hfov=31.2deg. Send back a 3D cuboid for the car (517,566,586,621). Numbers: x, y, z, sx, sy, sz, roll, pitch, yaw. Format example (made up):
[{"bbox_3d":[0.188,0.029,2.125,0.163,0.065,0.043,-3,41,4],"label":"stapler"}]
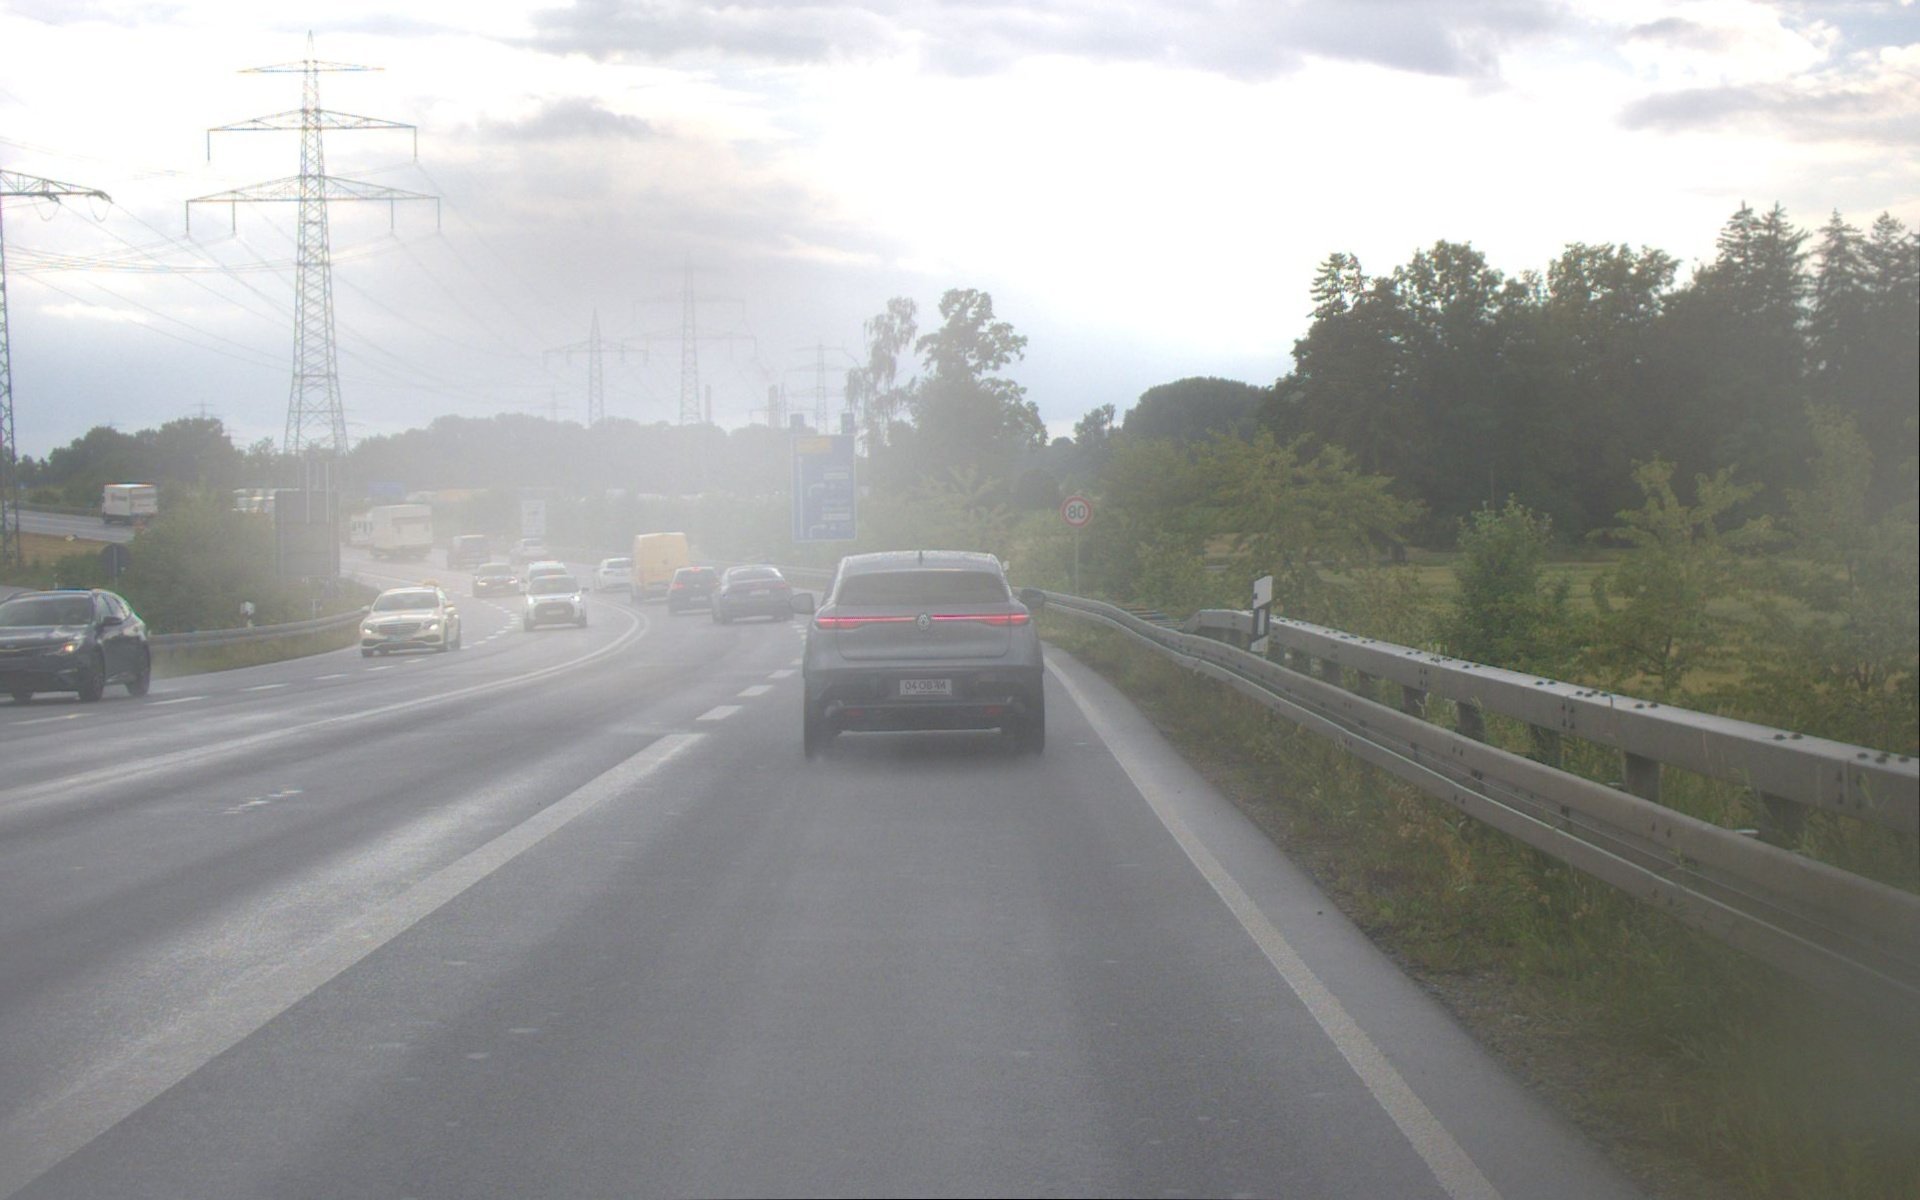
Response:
[{"bbox_3d":[-11.601,-0.195,97.872,1.766,1.495,4.210,-2,1,-5],"label":"car"}]

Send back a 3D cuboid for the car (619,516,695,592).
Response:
[{"bbox_3d":[-11.287,-1.690,127.622,2.572,2.716,7.198,1,1,-6],"label":"car"}]

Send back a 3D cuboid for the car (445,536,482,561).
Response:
[{"bbox_3d":[-29.202,-3.011,202.138,1.791,1.436,4.001,1,1,-14],"label":"car"}]

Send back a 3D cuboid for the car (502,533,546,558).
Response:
[{"bbox_3d":[-25.989,-3.239,204.844,1.791,1.436,4.001,1,1,-19],"label":"car"}]

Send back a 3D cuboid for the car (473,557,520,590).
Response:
[{"bbox_3d":[-20.572,-1.190,152.346,1.895,1.436,4.901,1,1,-9],"label":"car"}]

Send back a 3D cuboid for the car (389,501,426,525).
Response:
[{"bbox_3d":[-35.670,-5.627,221.921,1.791,1.436,4.002,0,2,-18],"label":"car"}]

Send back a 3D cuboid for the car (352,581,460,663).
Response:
[{"bbox_3d":[-12.270,0.460,76.373,1.943,1.654,4.647,-2,1,-4],"label":"car"}]

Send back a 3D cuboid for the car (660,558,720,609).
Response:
[{"bbox_3d":[-8.350,-0.532,106.486,1.791,1.536,4.001,1,1,-4],"label":"car"}]

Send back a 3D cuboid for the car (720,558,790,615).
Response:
[{"bbox_3d":[-5.436,-0.374,90.779,1.791,1.436,4.001,1,1,-4],"label":"car"}]

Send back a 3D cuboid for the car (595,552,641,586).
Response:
[{"bbox_3d":[-14.785,-1.354,148.302,1.791,1.436,4.001,1,1,-8],"label":"car"}]

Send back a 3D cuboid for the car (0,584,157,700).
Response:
[{"bbox_3d":[-12.064,0.525,46.089,1.770,1.421,4.735,1,1,-4],"label":"car"}]

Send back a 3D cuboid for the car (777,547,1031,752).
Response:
[{"bbox_3d":[-0.410,0.329,26.310,1.791,1.436,4.000,0,1,0],"label":"car"}]
